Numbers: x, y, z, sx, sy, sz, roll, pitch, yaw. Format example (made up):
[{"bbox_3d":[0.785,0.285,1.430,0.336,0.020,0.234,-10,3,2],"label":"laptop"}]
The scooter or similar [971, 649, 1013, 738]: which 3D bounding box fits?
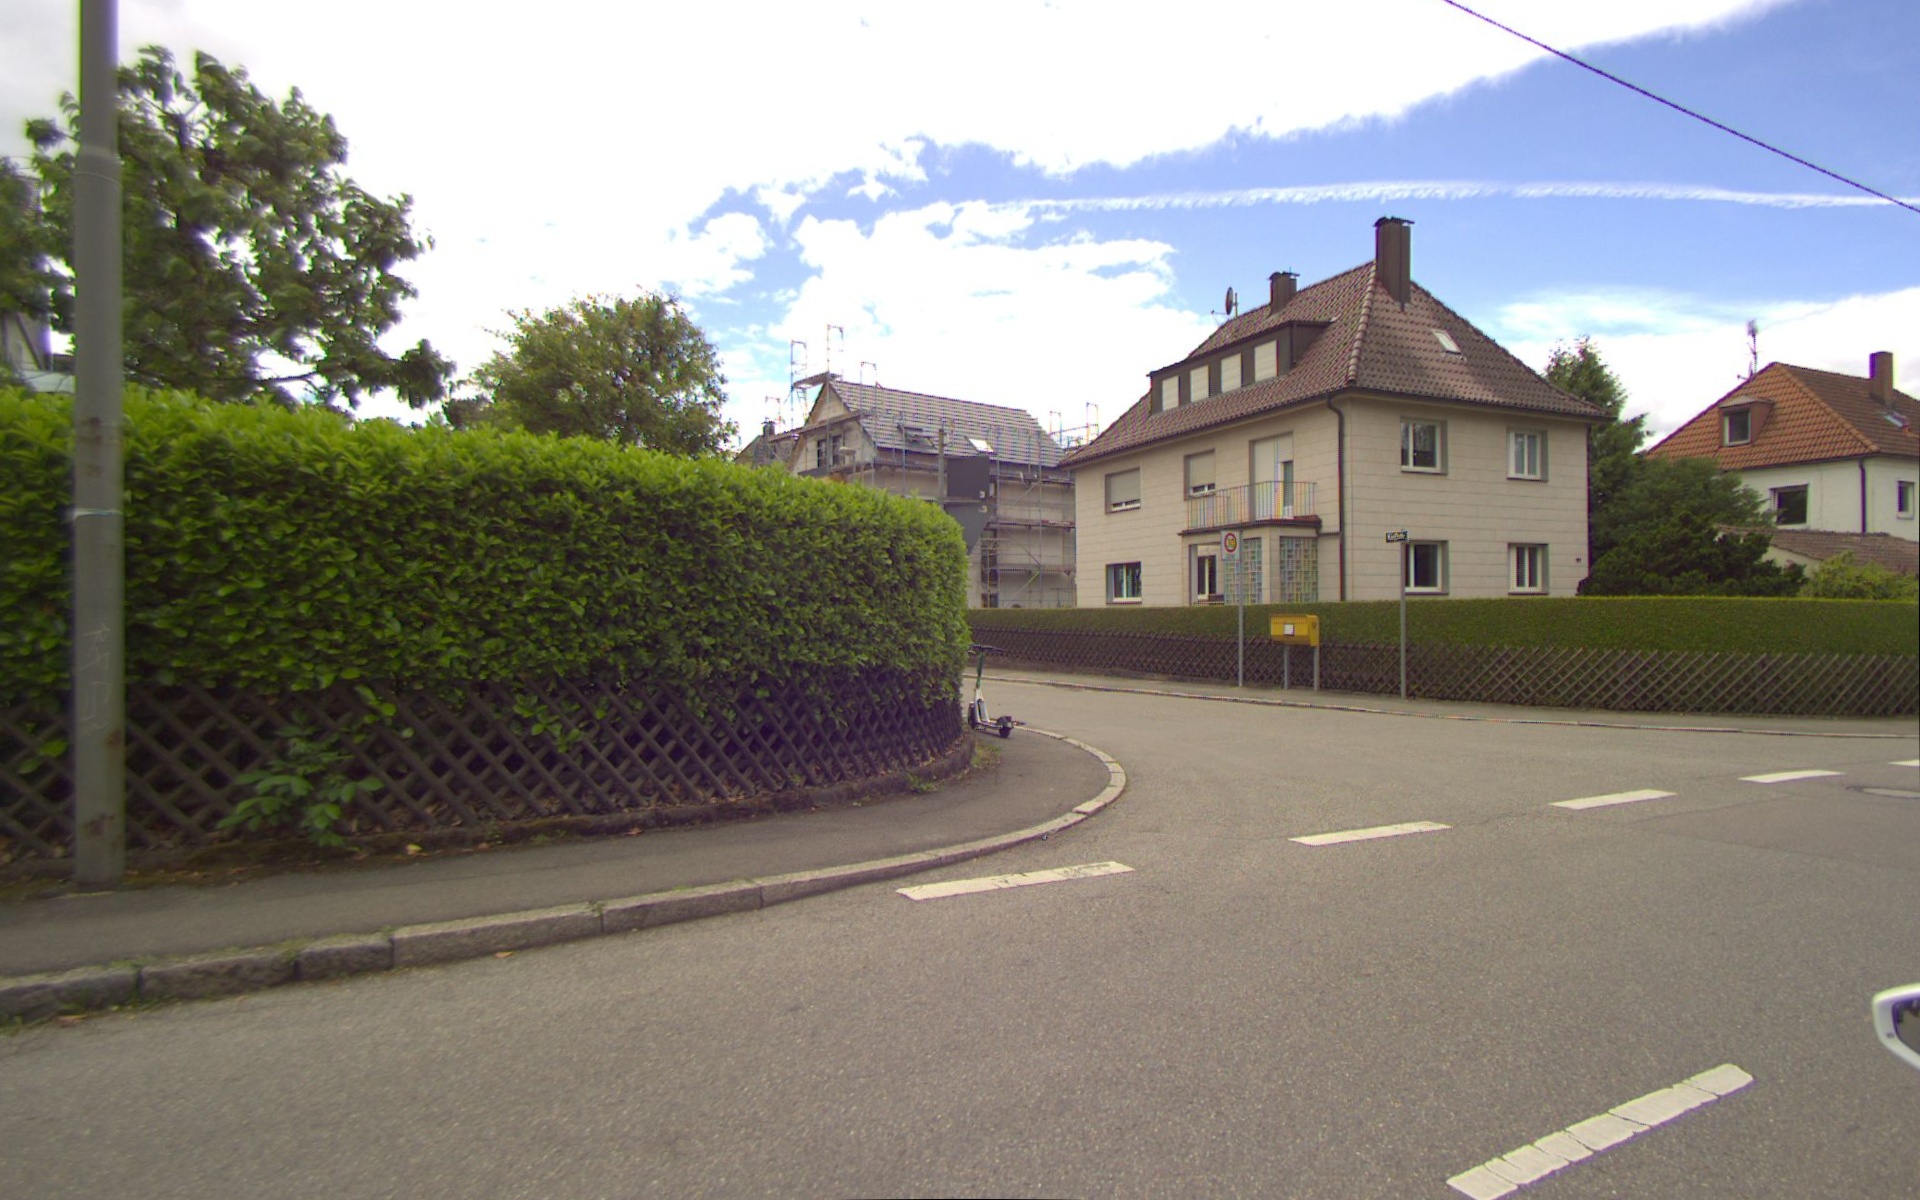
[{"bbox_3d":[0.430,1.244,13.524,0.300,1.134,0.721,1,-1,-21],"label":"scooter or similar"}]
